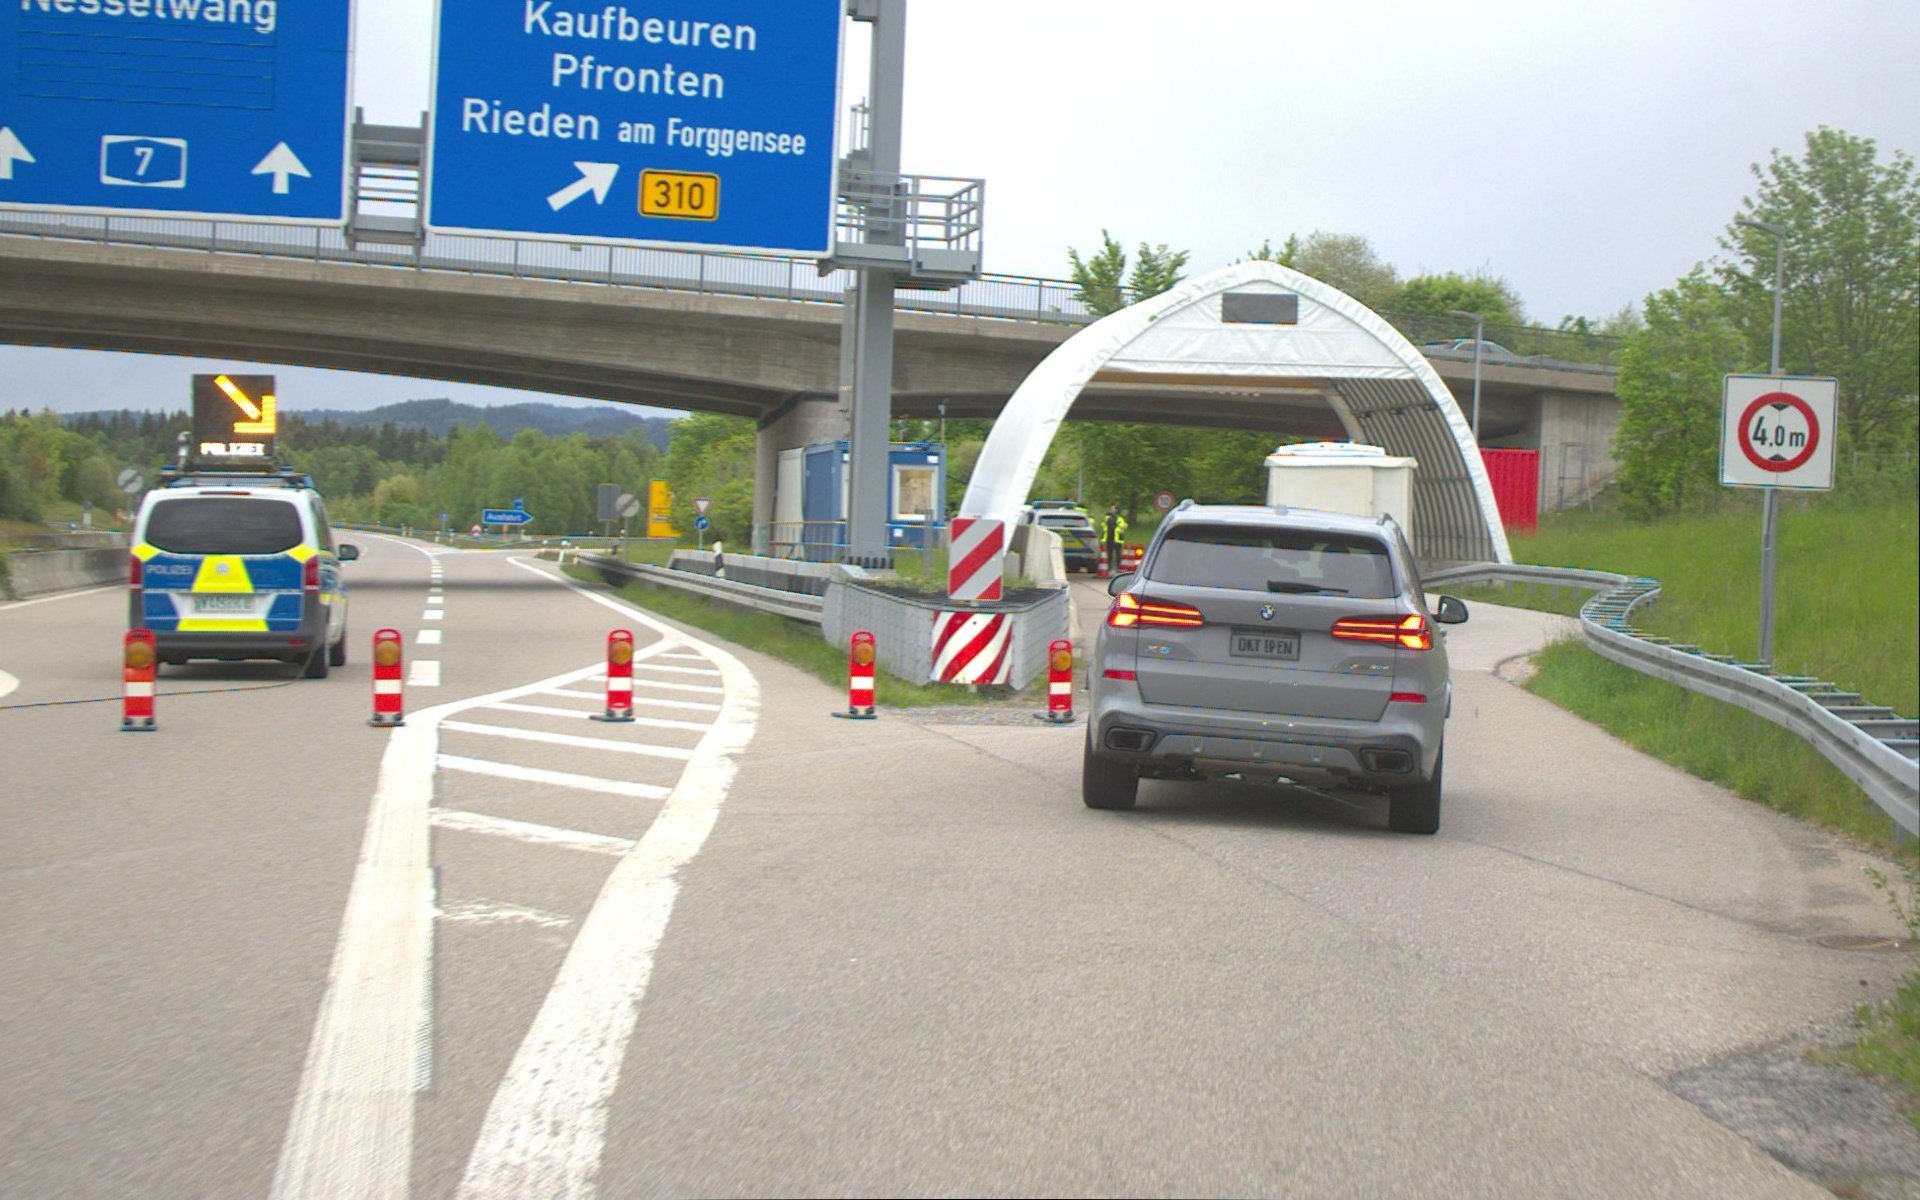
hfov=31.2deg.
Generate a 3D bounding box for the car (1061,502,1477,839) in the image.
[{"bbox_3d":[1.899,0.330,19.953,1.994,1.713,3.998,1,1,11],"label":"car"}]

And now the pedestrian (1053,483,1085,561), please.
[{"bbox_3d":[2.720,-1.959,86.028,0.720,1.939,0.690,1,1,-4],"label":"pedestrian"}]

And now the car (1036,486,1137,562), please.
[{"bbox_3d":[3.007,-1.818,82.359,1.993,1.766,3.766,0,1,-4],"label":"car"}]

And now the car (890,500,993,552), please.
[{"bbox_3d":[-0.543,-2.106,97.767,1.514,1.437,3.316,0,2,-30],"label":"car"}]

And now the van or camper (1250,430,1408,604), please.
[{"bbox_3d":[6.175,-1.366,58.166,2.157,2.754,5.871,1,1,2],"label":"van or camper"}]

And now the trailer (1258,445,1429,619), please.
[{"bbox_3d":[5.693,-0.994,51.814,2.279,2.422,6.816,1,1,4],"label":"trailer"}]

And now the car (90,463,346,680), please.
[{"bbox_3d":[-7.424,-0.344,34.853,2.285,2.006,5.051,1,2,-10],"label":"car"}]

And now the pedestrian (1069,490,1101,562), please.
[{"bbox_3d":[3.090,-1.830,84.913,0.720,1.769,0.690,1,1,-4],"label":"pedestrian"}]

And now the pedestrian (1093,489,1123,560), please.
[{"bbox_3d":[3.683,-1.884,85.714,0.648,1.769,0.606,0,1,-6],"label":"pedestrian"}]
